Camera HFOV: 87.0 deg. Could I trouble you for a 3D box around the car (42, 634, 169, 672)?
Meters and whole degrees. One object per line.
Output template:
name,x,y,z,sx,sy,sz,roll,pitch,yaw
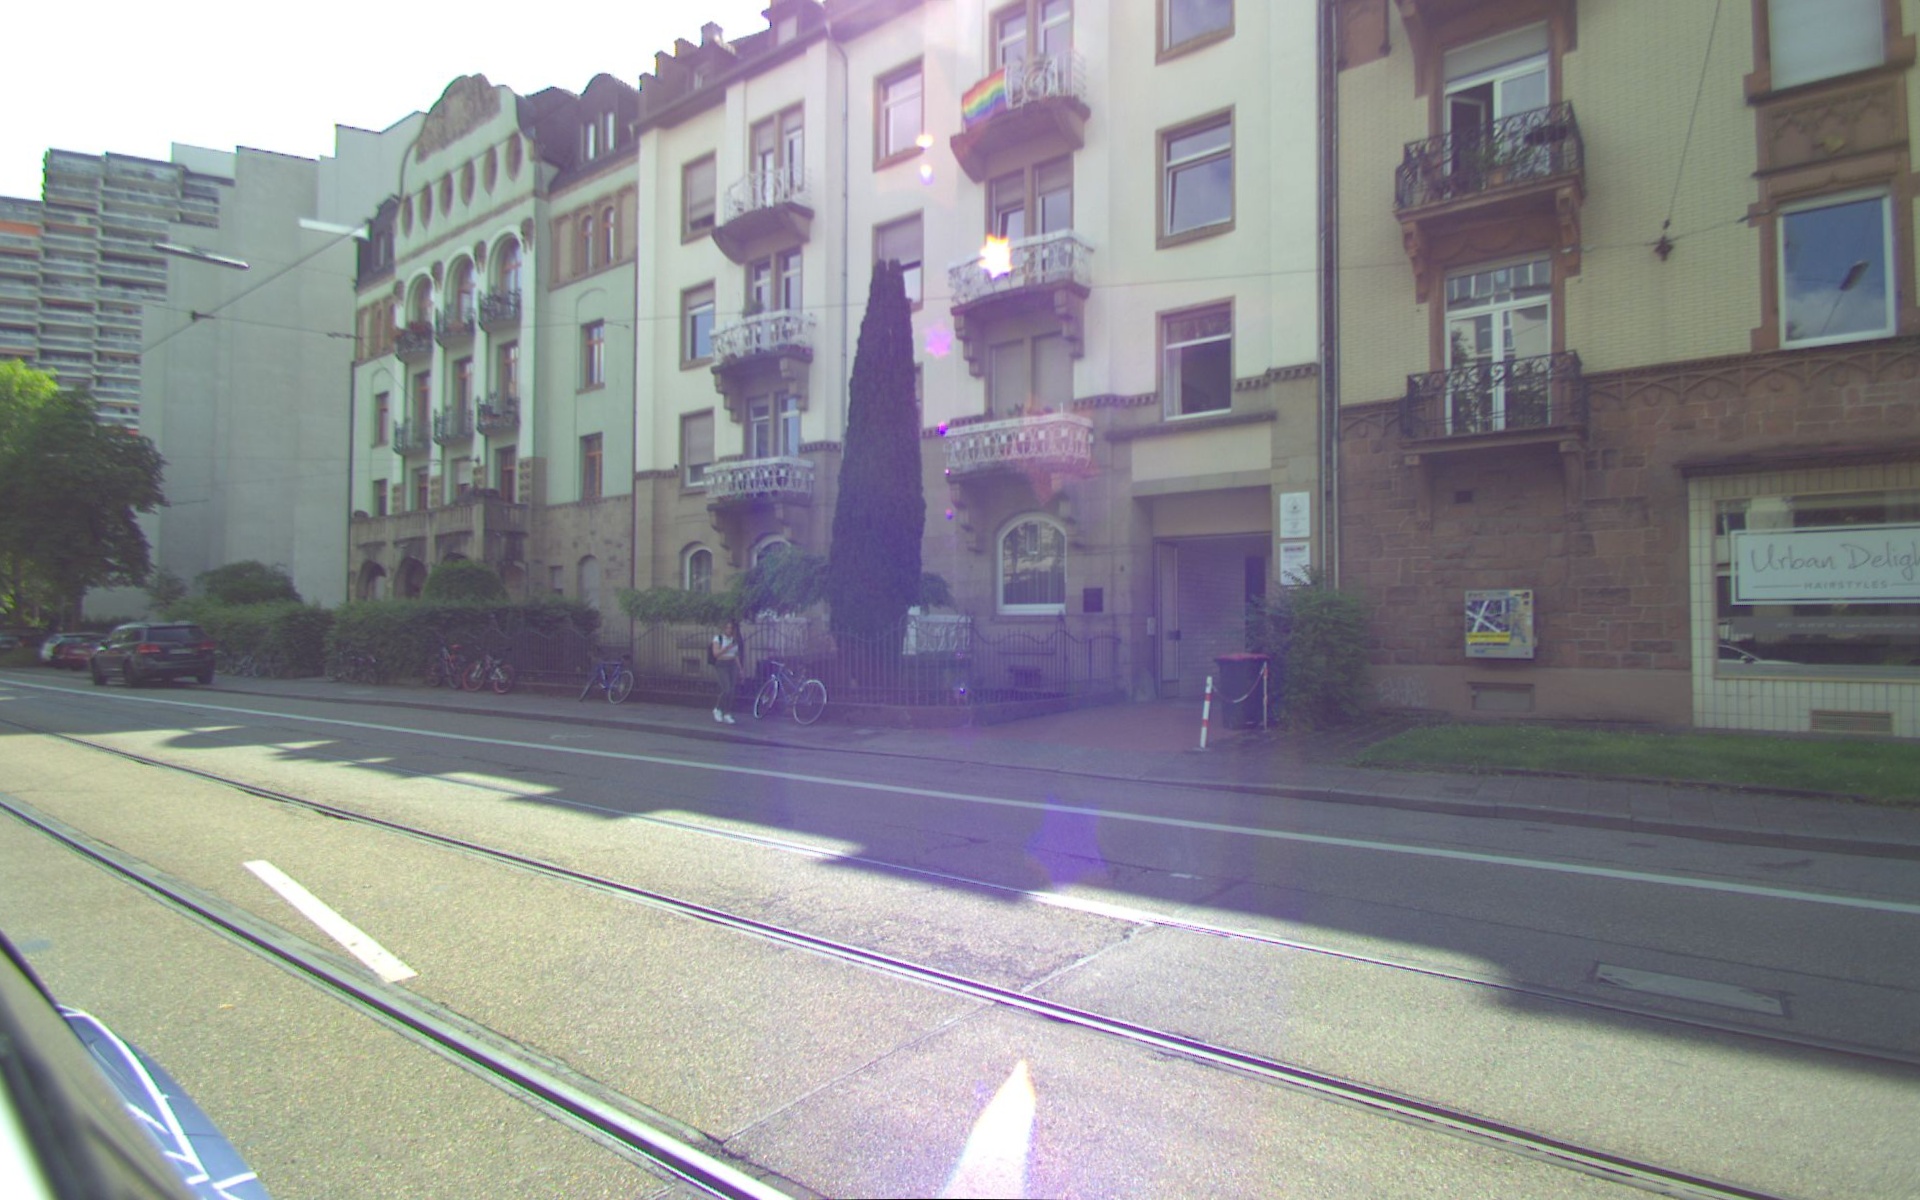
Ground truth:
car,-35.606,2.176,42.246,3.938,1.519,2.002,2,-3,-42

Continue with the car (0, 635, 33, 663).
car,-53.524,2.664,55.461,3.938,1.519,2.002,2,-3,-42

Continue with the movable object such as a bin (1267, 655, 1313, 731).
movable object such as a bin,4.624,1.290,14.198,0.531,1.037,0.475,0,-2,11

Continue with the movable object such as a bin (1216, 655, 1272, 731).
movable object such as a bin,3.993,1.296,14.255,0.697,1.037,0.475,0,-2,11

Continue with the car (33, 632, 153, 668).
car,-38.208,2.176,44.663,3.938,1.519,2.002,2,-3,-42

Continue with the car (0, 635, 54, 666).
car,-48.649,2.552,51.370,3.938,1.519,2.002,2,-3,-42

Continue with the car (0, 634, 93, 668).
car,-43.516,2.379,47.735,3.938,1.519,2.002,2,-3,-42

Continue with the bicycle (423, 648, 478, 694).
bicycle,-11.718,1.615,23.254,1.785,1.003,0.462,-2,-3,40

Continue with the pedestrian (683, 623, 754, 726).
pedestrian,-3.763,1.137,15.772,0.764,1.553,0.749,-2,-3,39

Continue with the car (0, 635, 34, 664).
car,-51.338,2.585,53.155,3.938,1.519,2.002,2,-3,-42

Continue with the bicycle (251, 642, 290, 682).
bicycle,-20.545,1.835,30.140,1.785,1.144,0.462,-2,-3,40

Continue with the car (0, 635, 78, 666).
car,-45.969,2.459,49.716,3.938,1.519,2.002,2,-3,-42

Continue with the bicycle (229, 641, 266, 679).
bicycle,-22.069,1.855,31.344,1.785,1.144,0.462,-2,-3,40

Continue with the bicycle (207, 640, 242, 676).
bicycle,-23.722,1.854,32.636,1.785,1.144,0.462,-2,-3,40

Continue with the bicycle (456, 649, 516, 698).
bicycle,-10.304,1.577,21.989,1.785,1.003,0.462,-2,-3,40

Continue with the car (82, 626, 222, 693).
car,-22.285,1.576,27.865,4.393,1.708,1.899,-1,-2,36

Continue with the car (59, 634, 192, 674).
car,-32.926,2.090,39.987,3.938,1.519,2.002,2,-3,-42

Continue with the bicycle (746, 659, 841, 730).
bicycle,-2.654,1.460,15.979,0.461,1.003,1.980,2,-3,-43

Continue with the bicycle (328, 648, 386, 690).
bicycle,-15.188,1.722,25.471,1.979,1.003,0.597,-2,-3,40

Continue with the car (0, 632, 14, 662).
car,-56.422,2.646,57.413,3.938,1.695,2.002,2,-3,-42

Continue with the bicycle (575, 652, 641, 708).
bicycle,-6.721,1.498,19.287,0.461,1.003,1.788,2,-3,-45
